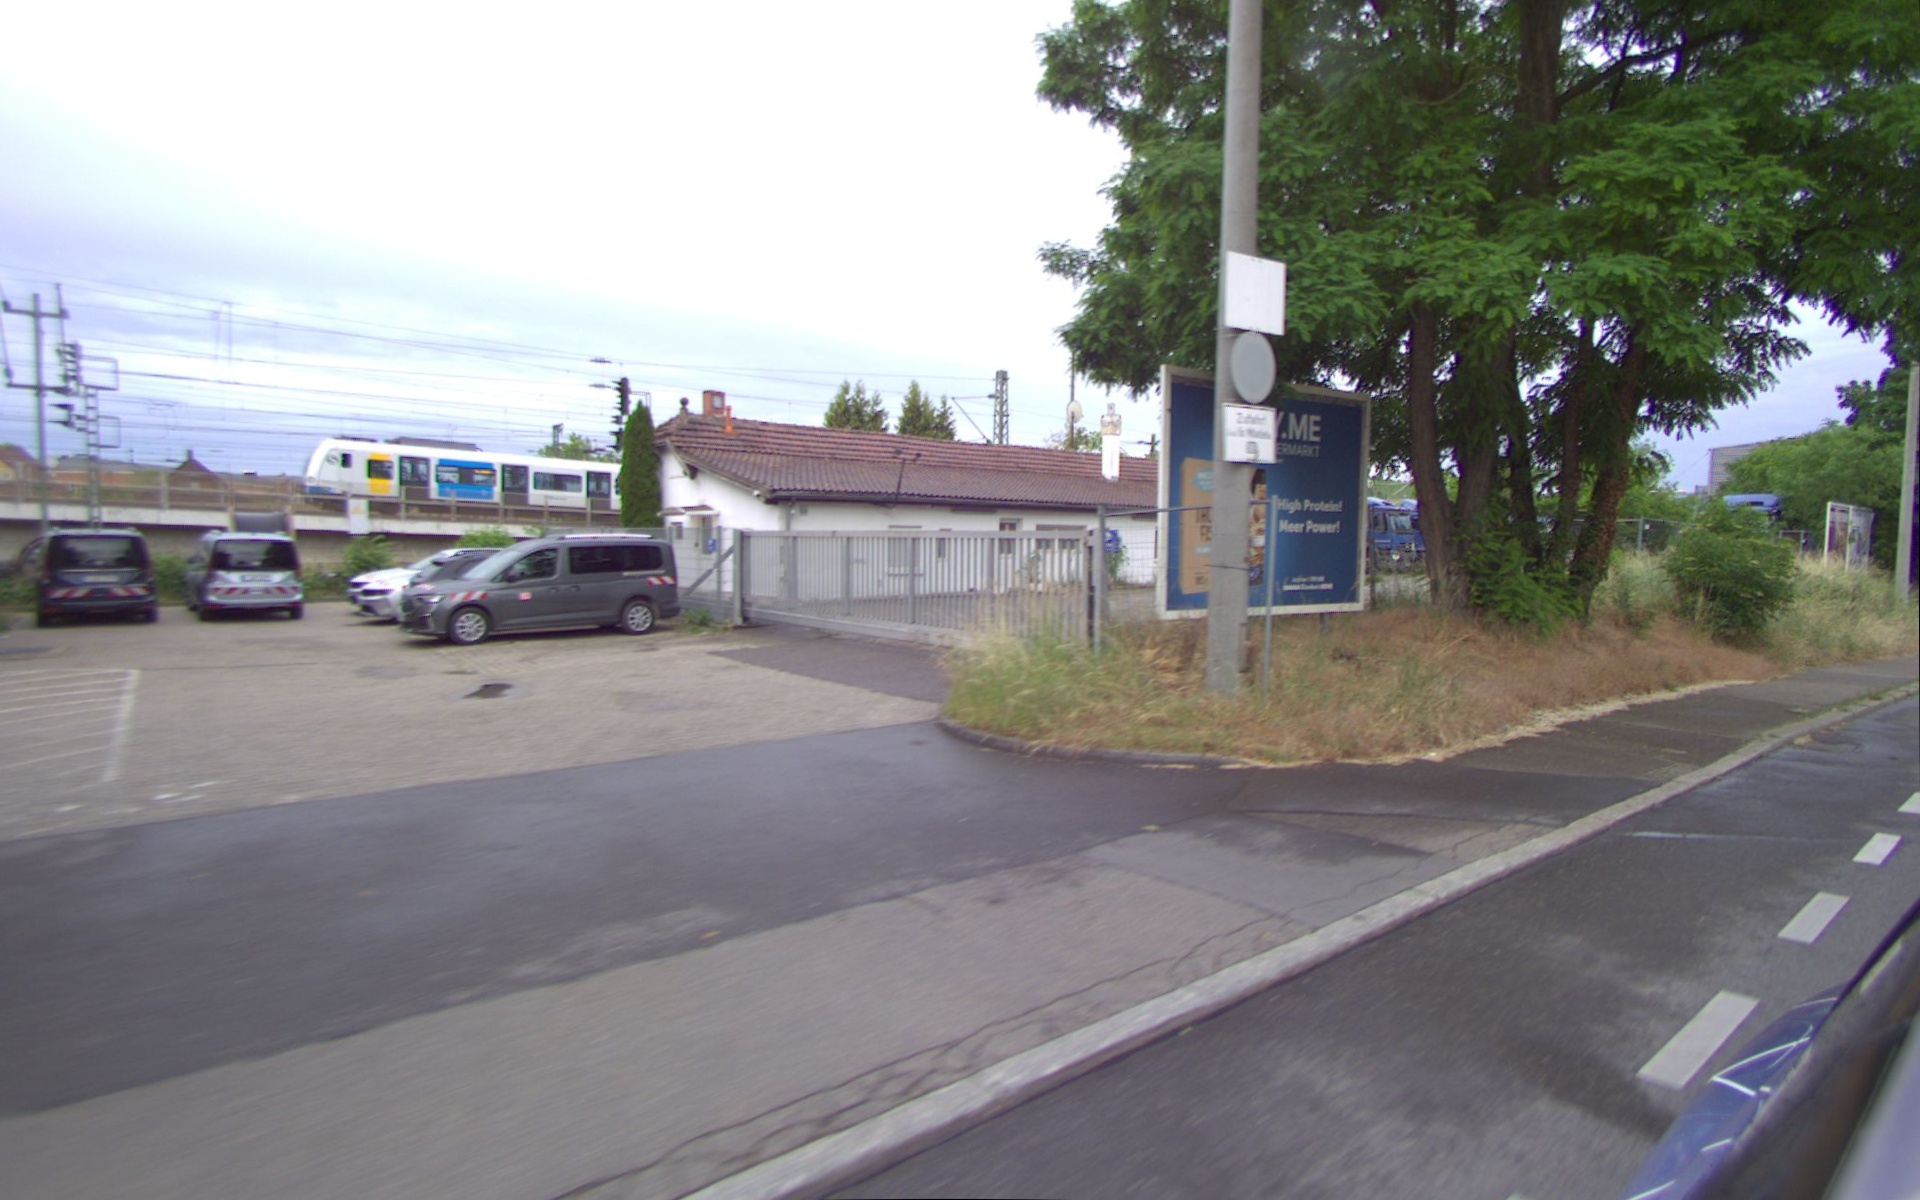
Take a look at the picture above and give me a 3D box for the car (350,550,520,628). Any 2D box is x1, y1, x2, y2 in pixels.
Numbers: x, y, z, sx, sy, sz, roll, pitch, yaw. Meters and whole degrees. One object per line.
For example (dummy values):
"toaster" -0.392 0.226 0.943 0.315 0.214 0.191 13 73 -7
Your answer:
"car" -11.078 -0.289 21.410 2.900 1.494 1.560 -2 4 -41

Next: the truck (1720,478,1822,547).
"truck" 36.143 -3.816 45.043 5.947 2.684 2.288 -2 -2 -40

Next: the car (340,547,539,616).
"car" -12.177 -0.503 23.811 3.931 1.480 1.430 -2 4 -41

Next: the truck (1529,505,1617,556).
"truck" 42.086 -4.684 69.347 9.474 3.235 2.255 -2 2 -40

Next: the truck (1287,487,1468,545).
"truck" 20.710 -4.115 50.686 2.543 2.686 8.105 -2 4 -42

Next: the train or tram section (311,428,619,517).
"train or tram section" -27.906 -7.067 58.250 15.613 3.869 3.285 -1 2 -40

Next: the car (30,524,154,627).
"car" -17.300 -0.542 20.122 1.727 1.845 3.804 0 3 -43

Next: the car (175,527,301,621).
"car" -15.690 -0.617 21.922 1.727 1.845 3.992 0 3 -43

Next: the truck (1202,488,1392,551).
"truck" 15.233 -3.636 46.386 2.587 2.649 8.015 -2 4 -42

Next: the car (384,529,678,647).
"car" -7.637 -0.317 18.307 4.573 1.881 1.785 -3 4 -41

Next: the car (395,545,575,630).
"car" -9.345 -0.309 19.997 2.965 1.548 1.417 -2 4 -41

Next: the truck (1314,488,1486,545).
"truck" 23.107 -4.351 53.626 2.543 2.771 8.019 -2 4 -42

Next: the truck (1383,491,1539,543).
"truck" 29.003 -4.755 58.906 2.543 2.849 7.751 -2 4 -42

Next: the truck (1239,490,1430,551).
"truck" 17.585 -3.737 48.130 2.543 2.648 8.312 -2 4 -42
